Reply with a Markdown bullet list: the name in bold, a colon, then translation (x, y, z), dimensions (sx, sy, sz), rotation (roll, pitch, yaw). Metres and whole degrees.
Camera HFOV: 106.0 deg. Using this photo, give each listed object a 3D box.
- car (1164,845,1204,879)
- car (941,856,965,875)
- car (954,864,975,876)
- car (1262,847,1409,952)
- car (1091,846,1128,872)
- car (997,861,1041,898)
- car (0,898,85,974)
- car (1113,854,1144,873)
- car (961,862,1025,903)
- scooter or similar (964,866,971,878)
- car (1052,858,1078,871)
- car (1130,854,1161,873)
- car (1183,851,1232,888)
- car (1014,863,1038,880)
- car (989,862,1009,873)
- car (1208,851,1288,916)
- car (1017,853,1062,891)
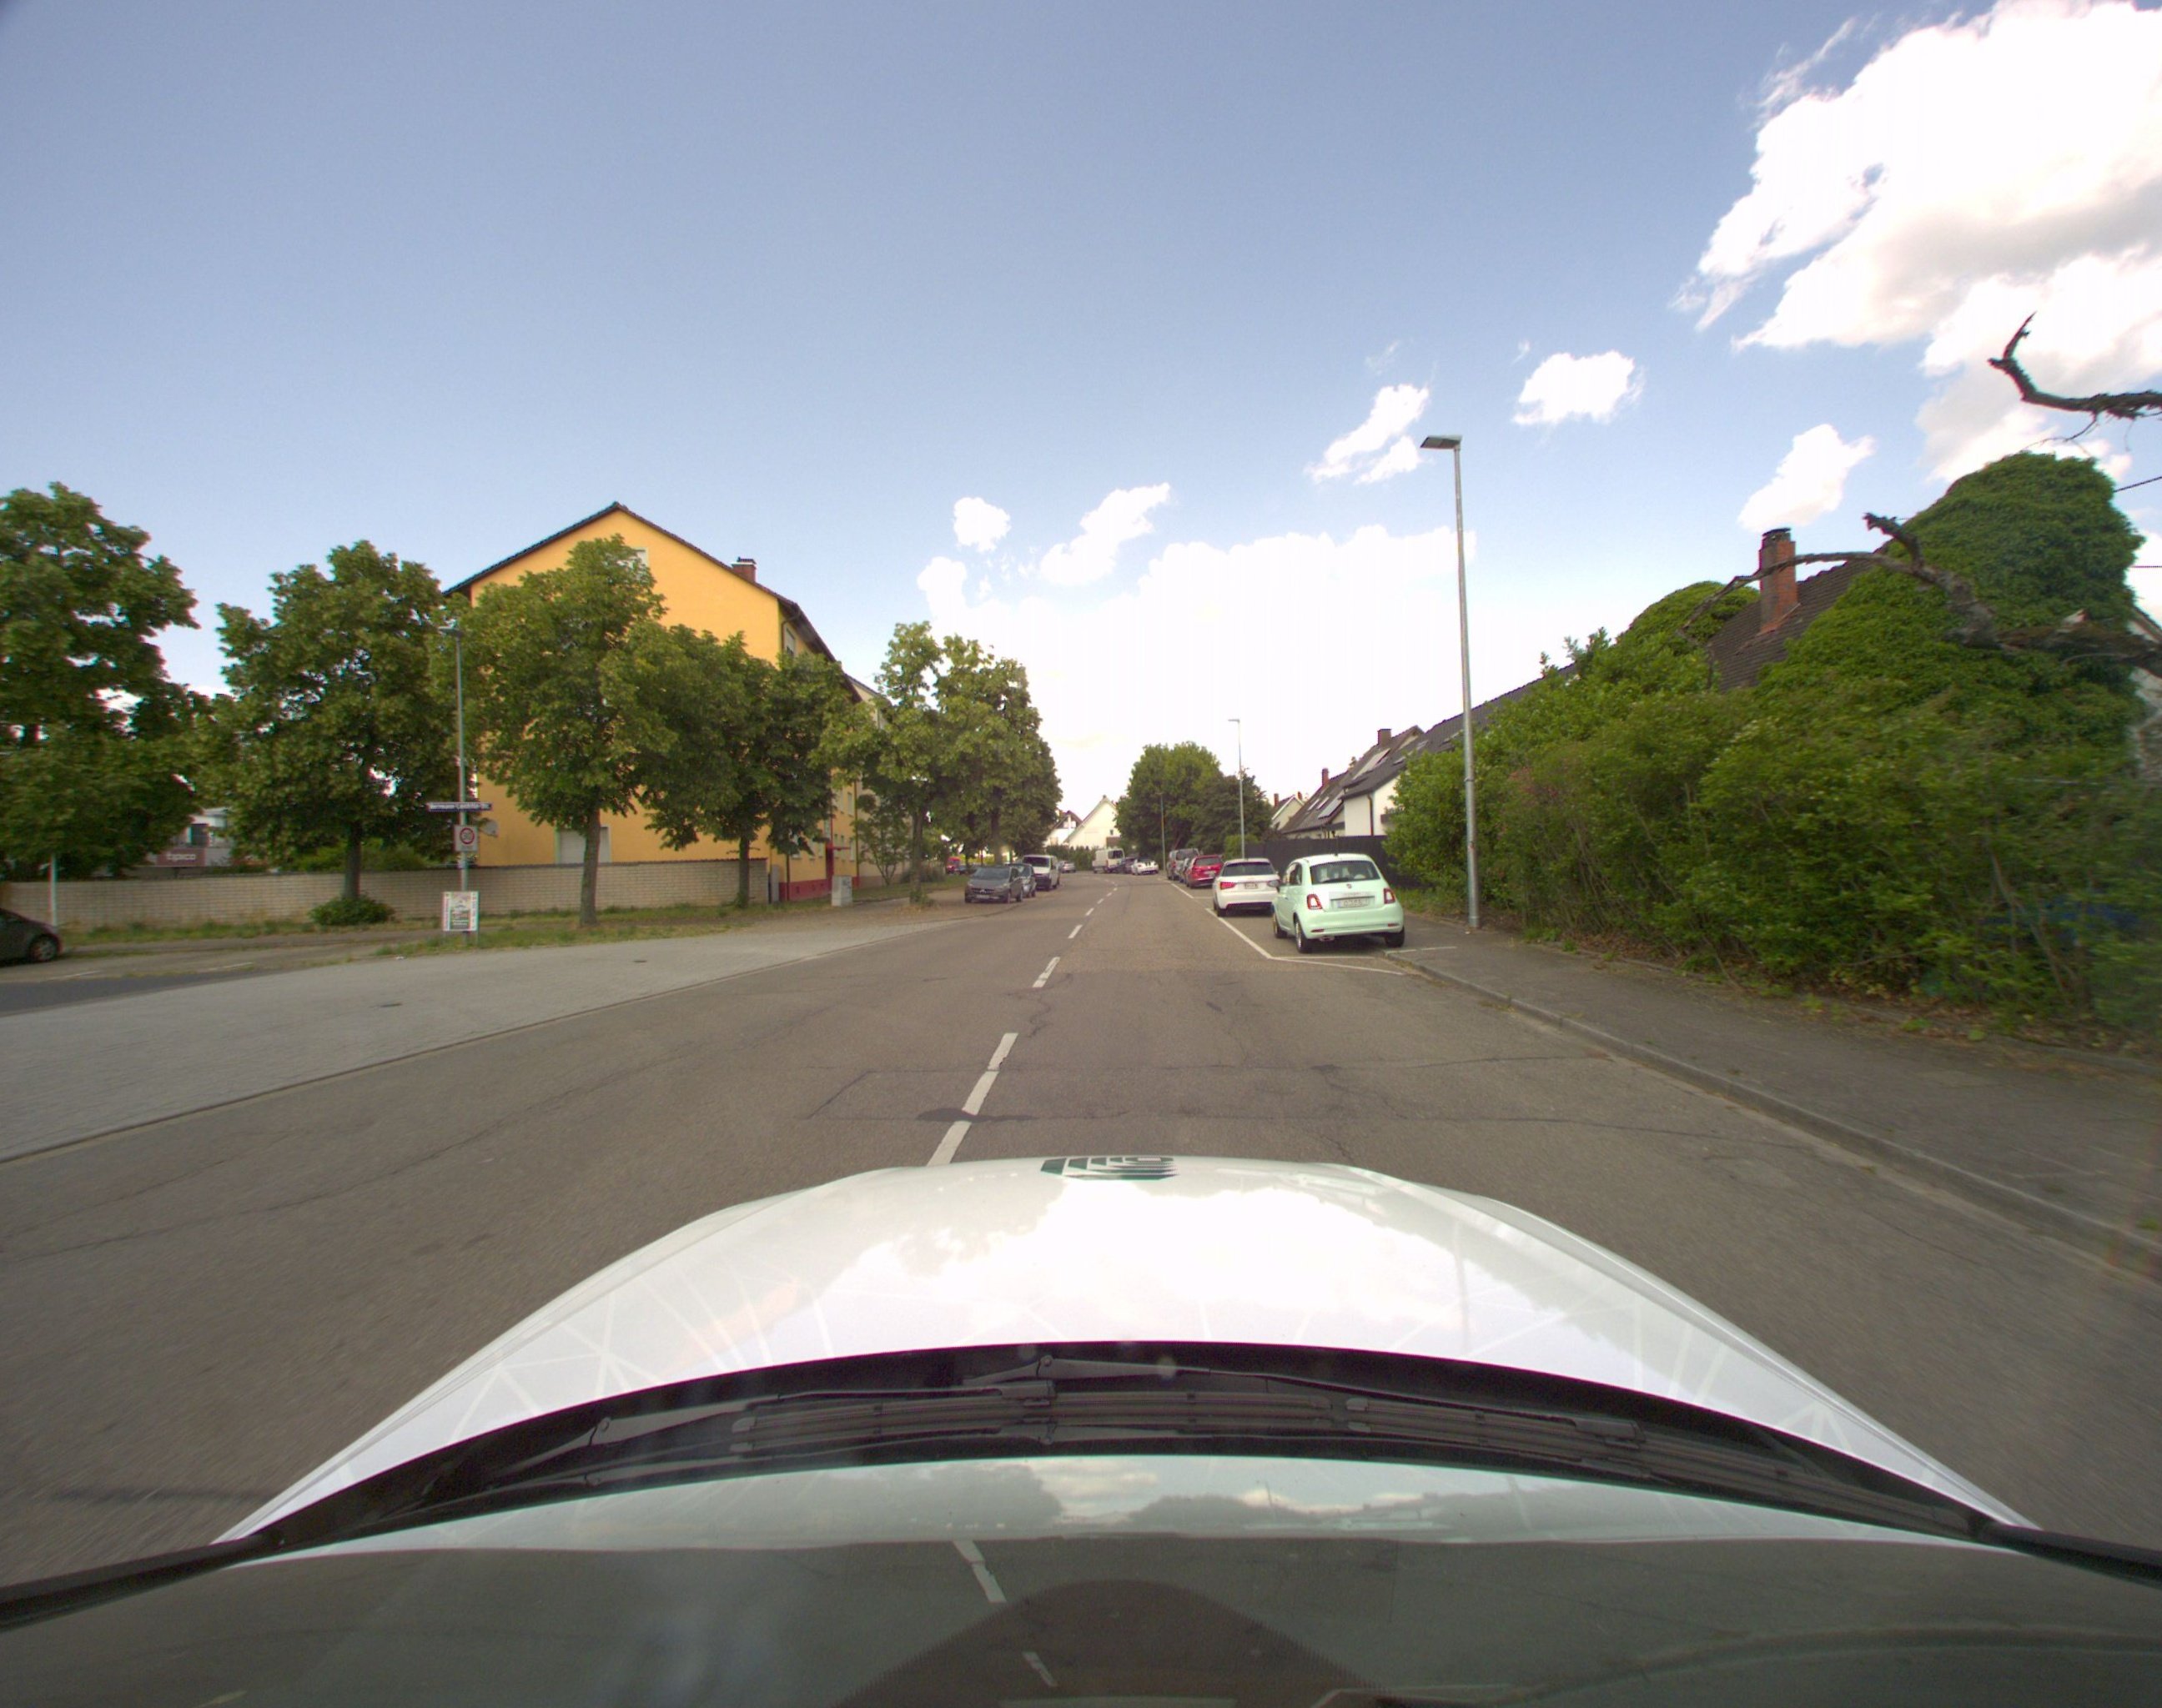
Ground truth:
- **car**: translation (6.491, 0.494, 51.835), dimensions (1.836, 1.944, 4.876), rotation (-5, 0, 1)
- **car**: translation (-17.372, 1.616, 110.614), dimensions (2.071, 2.501, 5.800), rotation (2, -2, -20)
- **car**: translation (-14.943, 2.019, 104.522), dimensions (1.793, 1.458, 4.404), rotation (2, -2, -20)
- **car**: translation (4.249, 0.690, 14.156), dimensions (1.574, 1.520, 3.760), rotation (-3, 0, 4)
- **car**: translation (2.804, 0.491, 81.400), dimensions (2.120, 2.441, 5.866), rotation (-3, 0, -14)
- **car**: translation (-2.848, 1.150, 38.141), dimensions (1.511, 1.549, 3.759), rotation (2, 0, 3)
- **car**: translation (-24.617, 1.916, 17.699), dimensions (1.649, 1.538, 3.883), rotation (-3, 2, -13)
- **car**: translation (4.360, 0.883, 75.366), dimensions (1.720, 1.585, 4.105), rotation (-3, 0, -13)
- **car**: translation (-3.374, 1.102, 31.897), dimensions (1.675, 1.486, 3.989), rotation (0, -1, 5)
- **scooter or similar**: translation (-11.901, 1.884, 85.382), dimensions (0.420, 1.165, 1.134), rotation (-1, 0, -18)
- **car**: translation (-1.948, 1.272, 95.834), dimensions (1.743, 1.457, 4.336), rotation (-2, 0, -19)
- **car**: translation (5.363, 0.794, 68.543), dimensions (1.738, 1.512, 4.447), rotation (-3, 0, -7)
- **car**: translation (5.961, 0.694, 38.899), dimensions (1.841, 1.579, 4.738), rotation (-3, 0, 4)
- **car**: translation (-5.013, 1.542, 73.402), dimensions (1.836, 1.439, 4.079), rotation (0, -1, -8)
- **car**: translation (-12.338, 2.014, 121.838), dimensions (1.803, 1.523, 3.942), rotation (-2, 0, -24)
- **car**: translation (4.278, 0.716, 21.364), dimensions (1.712, 1.486, 3.756), rotation (-3, 0, 7)
- **car**: translation (-2.273, 0.947, 46.365), dimensions (1.871, 2.009, 5.328), rotation (-1, 0, 4)
